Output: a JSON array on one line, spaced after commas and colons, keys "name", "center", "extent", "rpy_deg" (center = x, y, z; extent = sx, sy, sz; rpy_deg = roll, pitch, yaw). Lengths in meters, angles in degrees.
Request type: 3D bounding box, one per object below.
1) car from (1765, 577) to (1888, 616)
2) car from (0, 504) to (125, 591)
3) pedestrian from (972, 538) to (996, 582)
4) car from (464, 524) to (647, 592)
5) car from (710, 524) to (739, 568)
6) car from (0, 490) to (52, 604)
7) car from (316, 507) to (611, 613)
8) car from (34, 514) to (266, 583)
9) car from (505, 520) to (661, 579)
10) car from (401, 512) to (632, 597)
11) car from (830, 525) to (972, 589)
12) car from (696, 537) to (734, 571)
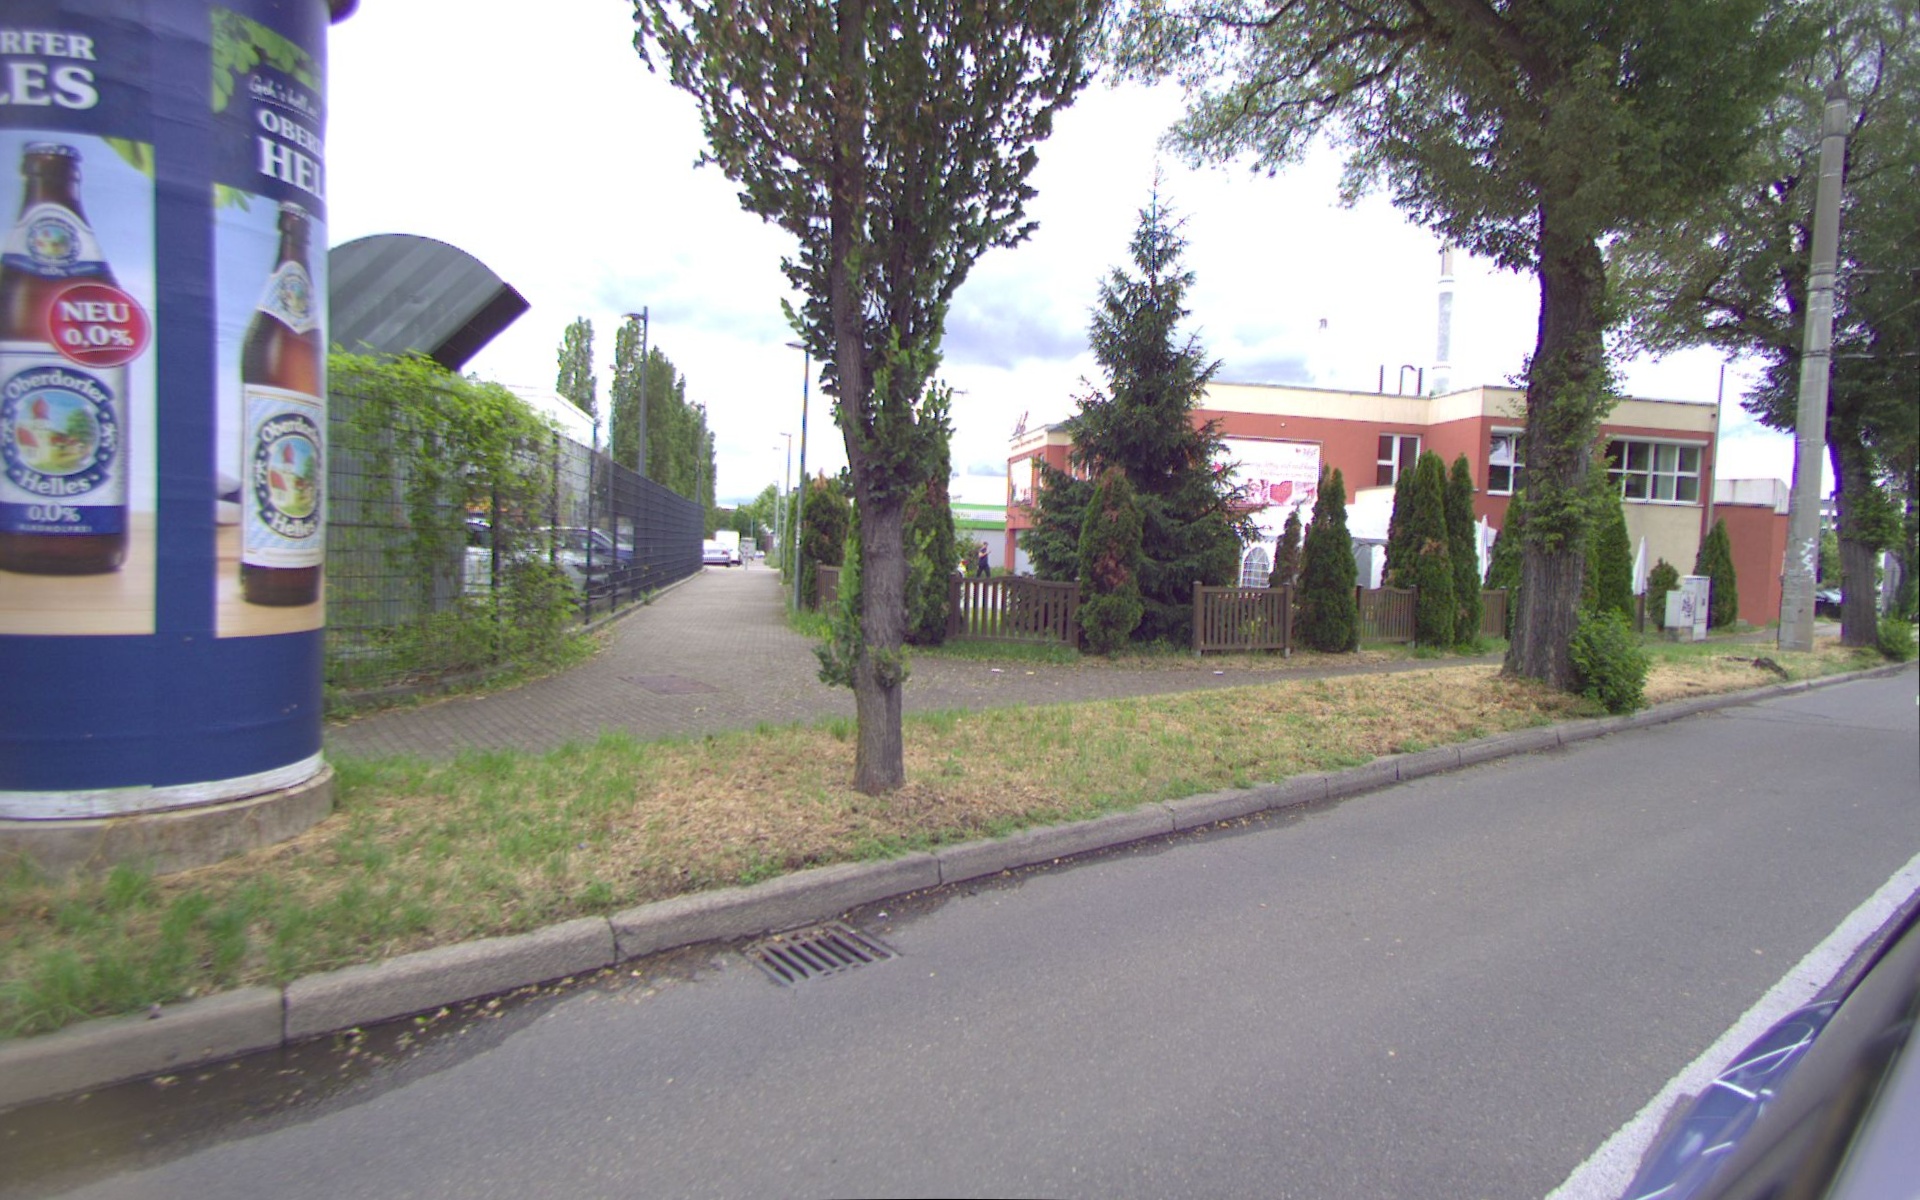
[{"name": "car", "center": [38.013, -0.180, 44.438], "extent": [3.988, 1.666, 1.866], "rpy_deg": [1, 1, 45]}, {"name": "car", "center": [-19.577, -1.063, 19.942], "extent": [1.974, 1.685, 4.477], "rpy_deg": [3, 3, 18]}, {"name": "pedestrian", "center": [0.994, -1.628, 41.505], "extent": [0.854, 1.783, 0.597], "rpy_deg": [0, 0, 19]}, {"name": "car", "center": [-11.041, -1.163, 27.919], "extent": [4.407, 1.685, 2.005], "rpy_deg": [1, 3, -12]}, {"name": "car", "center": [-17.007, -3.824, 72.968], "extent": [1.933, 3.000, 5.601], "rpy_deg": [0, 1, -14]}, {"name": "car", "center": [-15.868, -0.766, 14.528], "extent": [4.198, 1.670, 1.996], "rpy_deg": [-1, 1, -42]}, {"name": "car", "center": [-8.738, -0.712, 18.239], "extent": [4.407, 1.685, 2.005], "rpy_deg": [1, 3, -12]}, {"name": "car", "center": [-20.610, -1.282, 25.955], "extent": [4.181, 1.670, 2.004], "rpy_deg": [0, 1, -15]}, {"name": "car", "center": [-11.872, -1.598, 32.176], "extent": [4.407, 1.685, 2.005], "rpy_deg": [1, 3, -12]}, {"name": "car", "center": [-9.735, -1.001, 22.574], "extent": [4.407, 1.685, 2.005], "rpy_deg": [1, 3, -12]}, {"name": "car", "center": [-1.717, -1.236, 30.194], "extent": [3.929, 1.772, 1.853], "rpy_deg": [-1, 1, -40]}, {"name": "car", "center": [-13.310, -2.464, 54.822], "extent": [1.933, 1.738, 4.008], "rpy_deg": [0, 1, -14]}]
